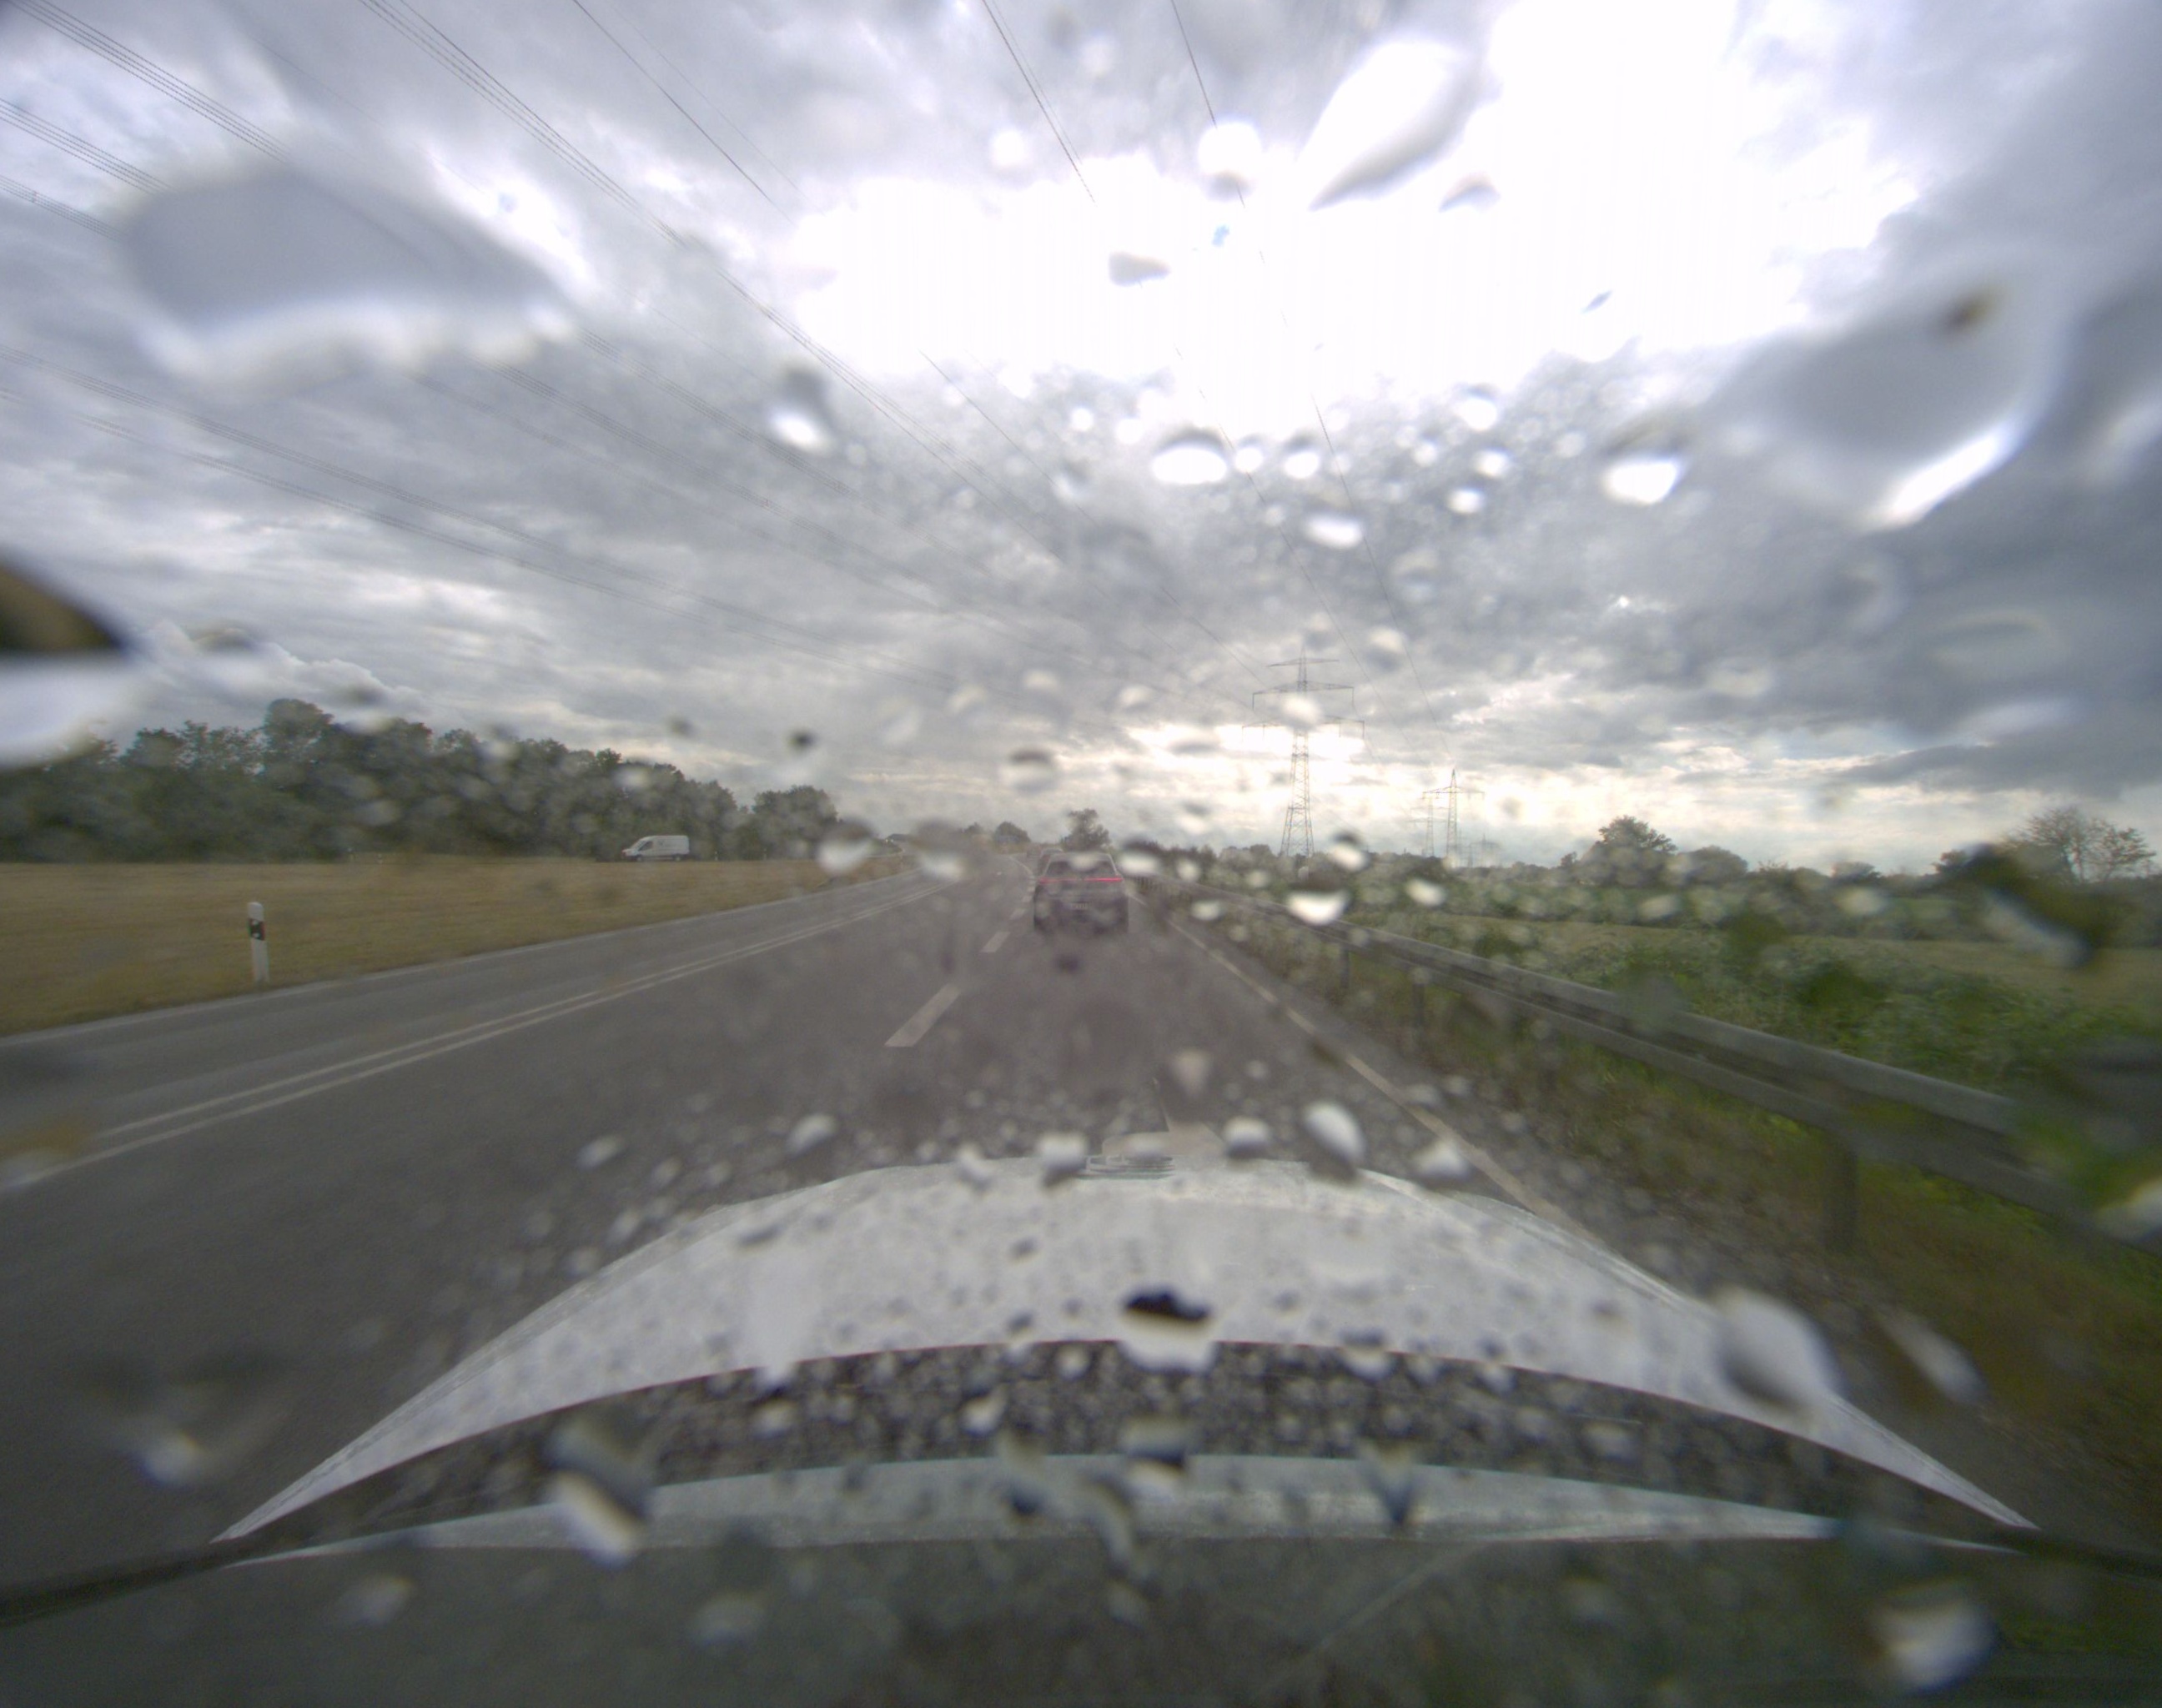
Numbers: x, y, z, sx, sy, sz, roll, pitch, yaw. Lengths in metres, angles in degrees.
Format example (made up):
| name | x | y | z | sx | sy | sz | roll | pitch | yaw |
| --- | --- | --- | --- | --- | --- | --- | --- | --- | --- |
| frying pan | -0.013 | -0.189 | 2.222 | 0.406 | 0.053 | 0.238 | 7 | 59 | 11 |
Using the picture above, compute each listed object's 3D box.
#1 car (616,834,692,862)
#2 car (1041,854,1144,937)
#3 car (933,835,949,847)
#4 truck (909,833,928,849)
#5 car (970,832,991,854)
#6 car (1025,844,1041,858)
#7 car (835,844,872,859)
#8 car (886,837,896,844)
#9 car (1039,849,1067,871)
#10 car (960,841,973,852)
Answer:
| name | x | y | z | sx | sy | sz | roll | pitch | yaw |
| --- | --- | --- | --- | --- | --- | --- | --- | --- | --- |
| car | -37.758 | -0.507 | 72.103 | 2.411 | 2.391 | 5.502 | -1 | -1 | 43 |
| car | 0.208 | 0.743 | 16.294 | 1.786 | 1.441 | 3.999 | -1 | 0 | 0 |
| car | -28.928 | -2.583 | 168.194 | 2.610 | 2.250 | 5.499 | 0 | -1 | -19 |
| truck | -38.651 | -3.033 | 193.809 | 3.058 | 3.385 | 7.588 | 0 | -1 | -22 |
| car | -13.464 | -1.398 | 109.105 | 2.571 | 2.725 | 7.176 | -2 | 0 | -8 |
| car | -5.639 | -0.376 | 95.493 | 1.788 | 1.541 | 3.993 | -1 | -1 | -5 |
| car | -25.772 | -0.294 | 92.482 | 1.964 | 1.603 | 3.938 | 1 | 0 | 23 |
| car | -43.953 | -3.134 | 188.420 | 1.750 | 1.365 | 4.023 | -4 | 0 | -19 |
| car | -1.993 | 0.398 | 57.007 | 1.789 | 1.441 | 3.992 | 0 | 0 | -6 |
| car | -18.315 | -1.170 | 129.910 | 1.792 | 1.688 | 3.984 | 0 | -1 | -11 |
